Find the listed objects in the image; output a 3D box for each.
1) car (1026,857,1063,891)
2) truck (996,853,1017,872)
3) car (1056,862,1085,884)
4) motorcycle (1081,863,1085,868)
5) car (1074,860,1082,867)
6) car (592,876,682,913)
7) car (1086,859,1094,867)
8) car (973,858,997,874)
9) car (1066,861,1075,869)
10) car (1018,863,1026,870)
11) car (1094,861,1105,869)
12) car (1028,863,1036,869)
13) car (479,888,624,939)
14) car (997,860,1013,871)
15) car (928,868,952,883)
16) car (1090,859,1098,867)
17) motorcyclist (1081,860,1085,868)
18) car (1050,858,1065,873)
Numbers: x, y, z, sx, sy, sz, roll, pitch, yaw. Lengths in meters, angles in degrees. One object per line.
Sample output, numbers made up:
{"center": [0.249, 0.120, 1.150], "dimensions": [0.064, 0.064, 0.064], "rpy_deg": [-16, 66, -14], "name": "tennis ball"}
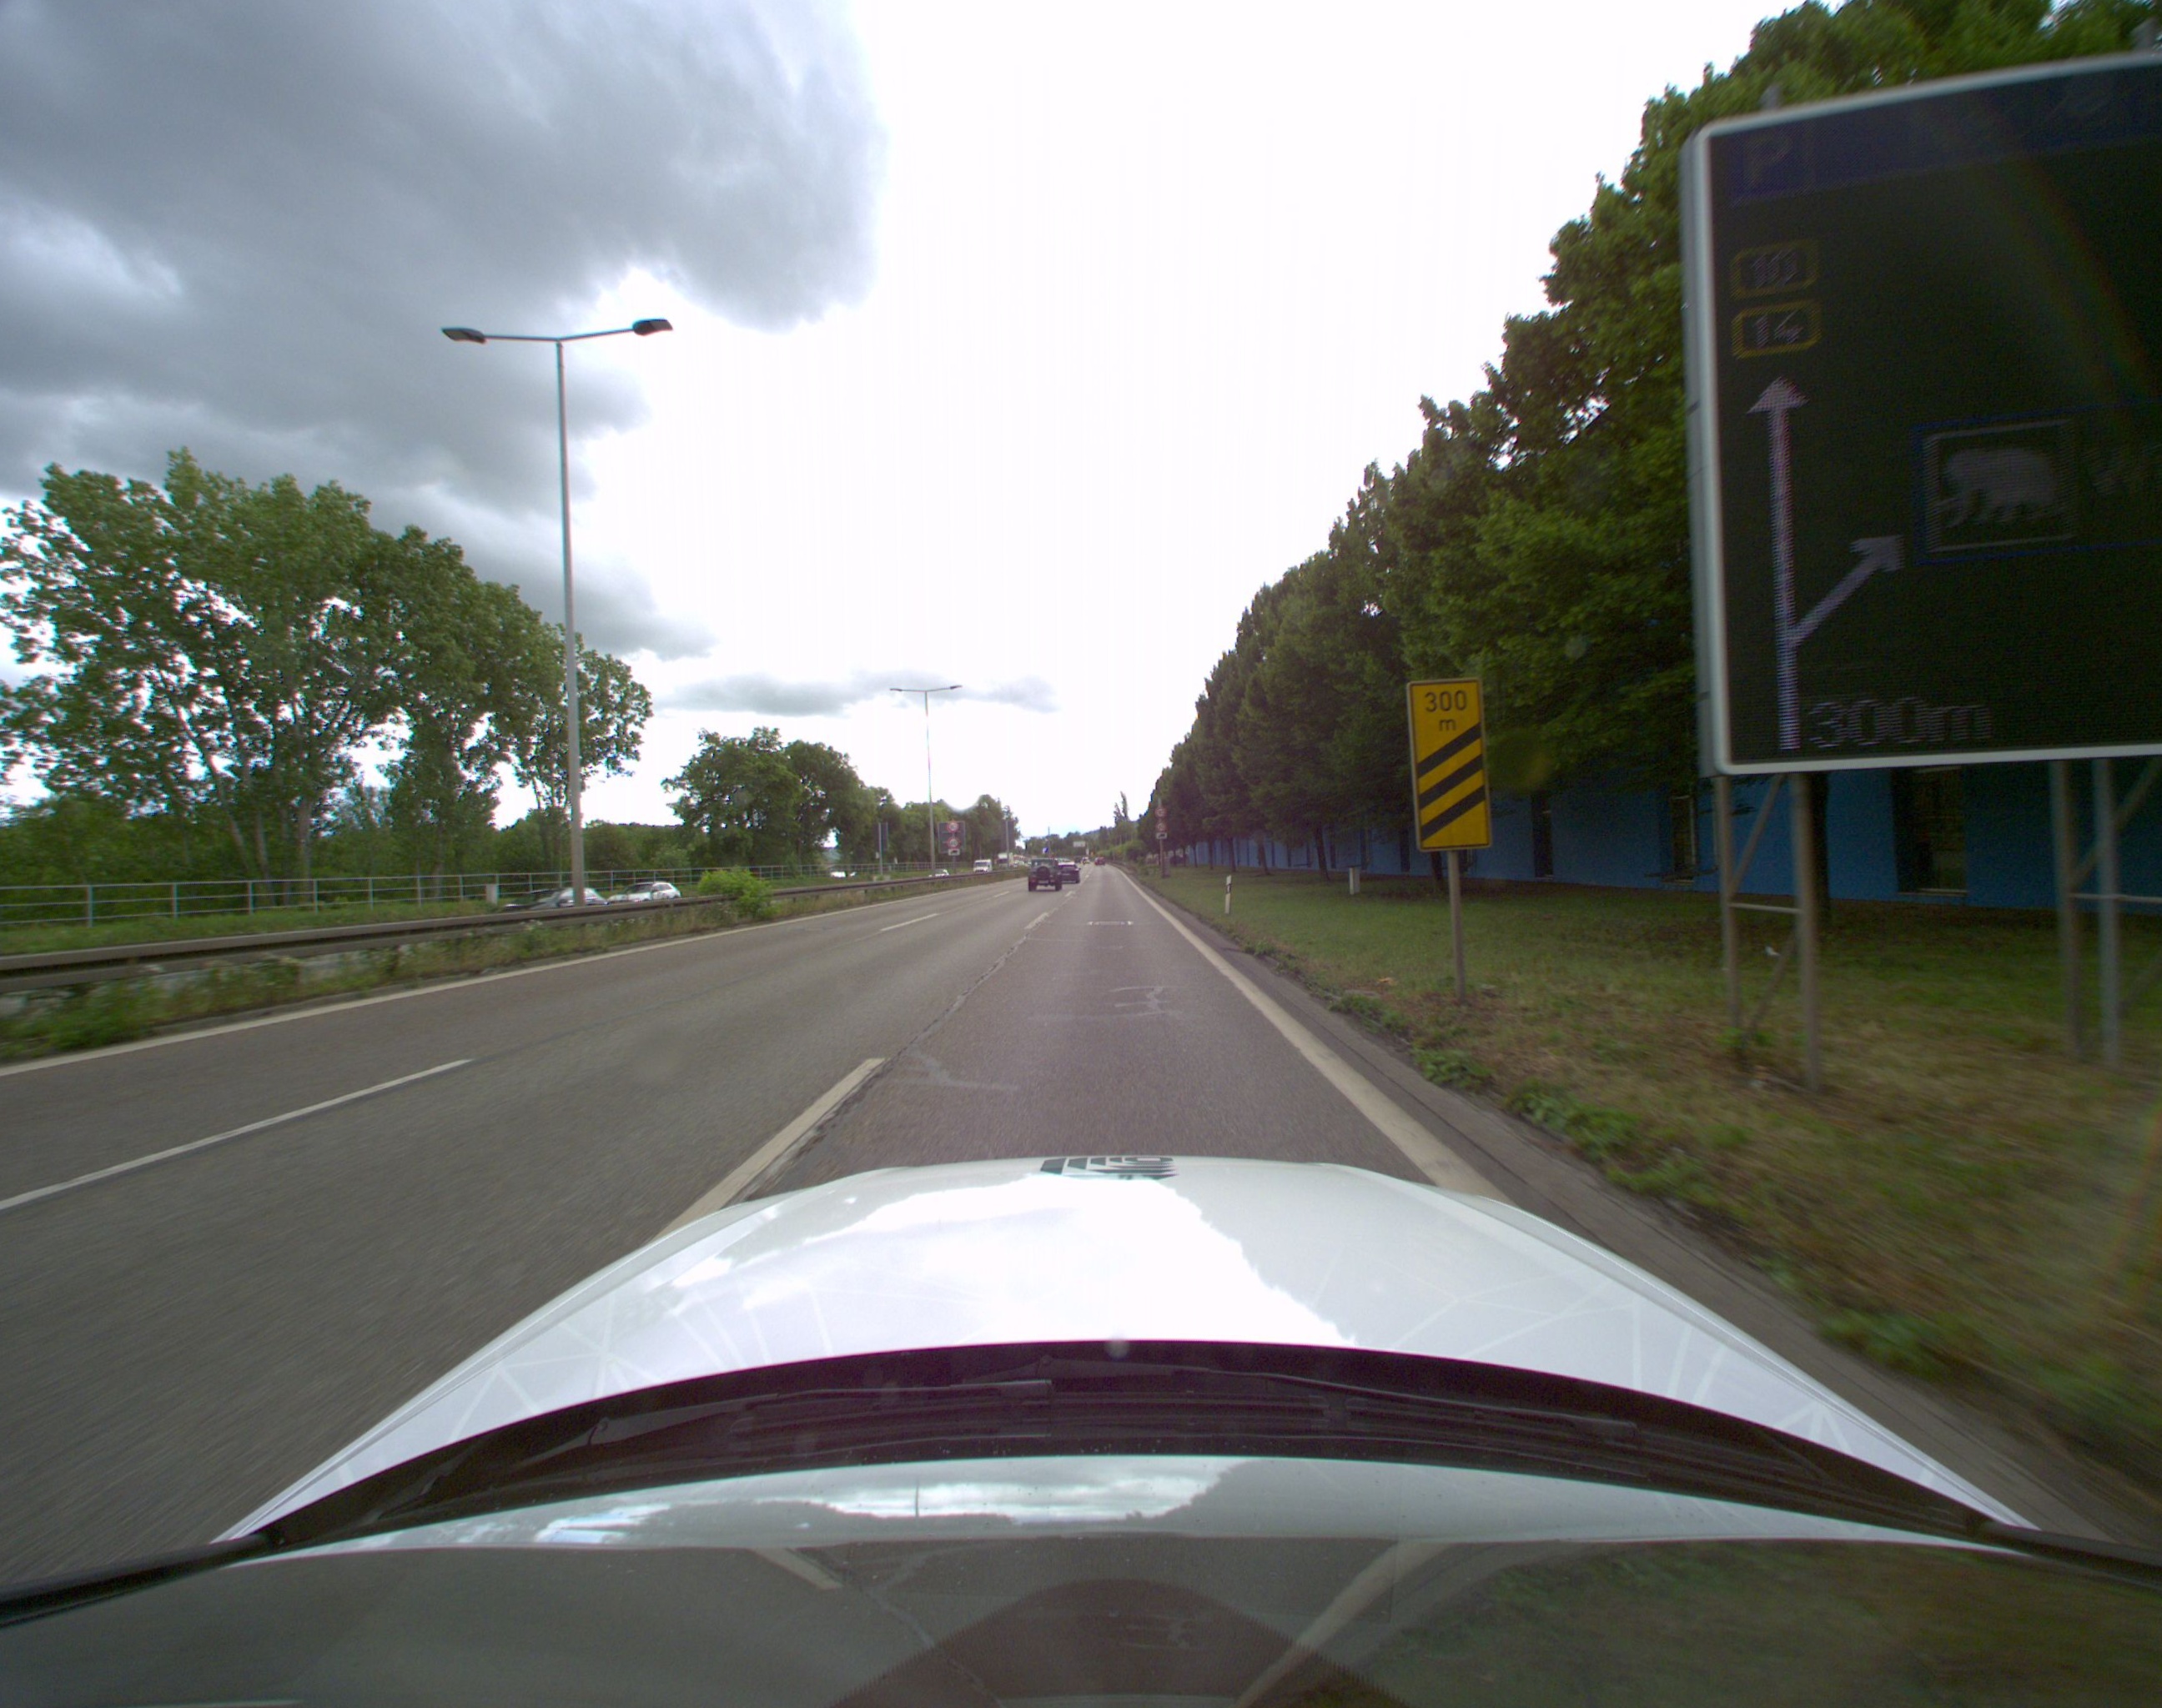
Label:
{"center": [-1.895, 1.039, 43.492], "dimensions": [1.691, 1.686, 4.001], "rpy_deg": [0, 0, 2], "name": "car"}
{"center": [-15.502, 1.745, 169.903], "dimensions": [2.876, 3.579, 9.596], "rpy_deg": [-3, -1, 4], "name": "truck"}
{"center": [-0.670, 1.306, 57.451], "dimensions": [1.839, 1.423, 4.900], "rpy_deg": [-3, -1, 1], "name": "car"}
{"center": [0.411, 2.614, 187.523], "dimensions": [0.788, 1.219, 2.331], "rpy_deg": [-2, 0, 2], "name": "motorcycle"}
{"center": [-0.742, 2.599, 226.324], "dimensions": [2.006, 1.934, 4.900], "rpy_deg": [-3, -1, 0], "name": "car"}
{"center": [-21.222, 1.897, 39.097], "dimensions": [1.871, 1.490, 4.203], "rpy_deg": [-2, 0, 2], "name": "car"}
{"center": [2.359, 2.405, 210.686], "dimensions": [2.006, 1.934, 4.900], "rpy_deg": [-3, -1, 0], "name": "car"}
{"center": [-13.123, 1.594, 111.276], "dimensions": [2.216, 1.948, 5.479], "rpy_deg": [-3, -1, 4], "name": "car"}
{"center": [-2.496, 2.442, 188.266], "dimensions": [1.691, 1.742, 4.396], "rpy_deg": [-4, -1, 2], "name": "car"}
{"center": [-15.999, 3.427, 220.595], "dimensions": [1.720, 1.605, 4.043], "rpy_deg": [-5, 0, 2], "name": "car"}
{"center": [3.455, 2.140, 156.283], "dimensions": [1.968, 1.423, 4.900], "rpy_deg": [-3, -1, 0], "name": "car"}
{"center": [-14.003, 3.344, 234.468], "dimensions": [1.691, 1.605, 4.540], "rpy_deg": [-5, 0, 2], "name": "car"}
{"center": [-17.669, 1.935, 27.505], "dimensions": [1.654, 1.299, 4.788], "rpy_deg": [-2, 0, 1], "name": "car"}
{"center": [-12.457, 1.928, 133.717], "dimensions": [1.870, 1.725, 4.151], "rpy_deg": [-2, 0, 4], "name": "car"}
{"center": [-14.421, 2.220, 83.538], "dimensions": [1.653, 1.398, 3.990], "rpy_deg": [-2, 0, 2], "name": "car"}
{"center": [2.868, 1.957, 176.760], "dimensions": [1.691, 1.742, 4.395], "rpy_deg": [-3, -1, 2], "name": "car"}
{"center": [0.396, 2.307, 187.450], "dimensions": [0.788, 1.760, 0.923], "rpy_deg": [-2, 0, 1], "name": "motorcyclist"}
{"center": [-2.997, 1.484, 105.946], "dimensions": [1.692, 1.742, 4.000], "rpy_deg": [-3, -1, 1], "name": "car"}
